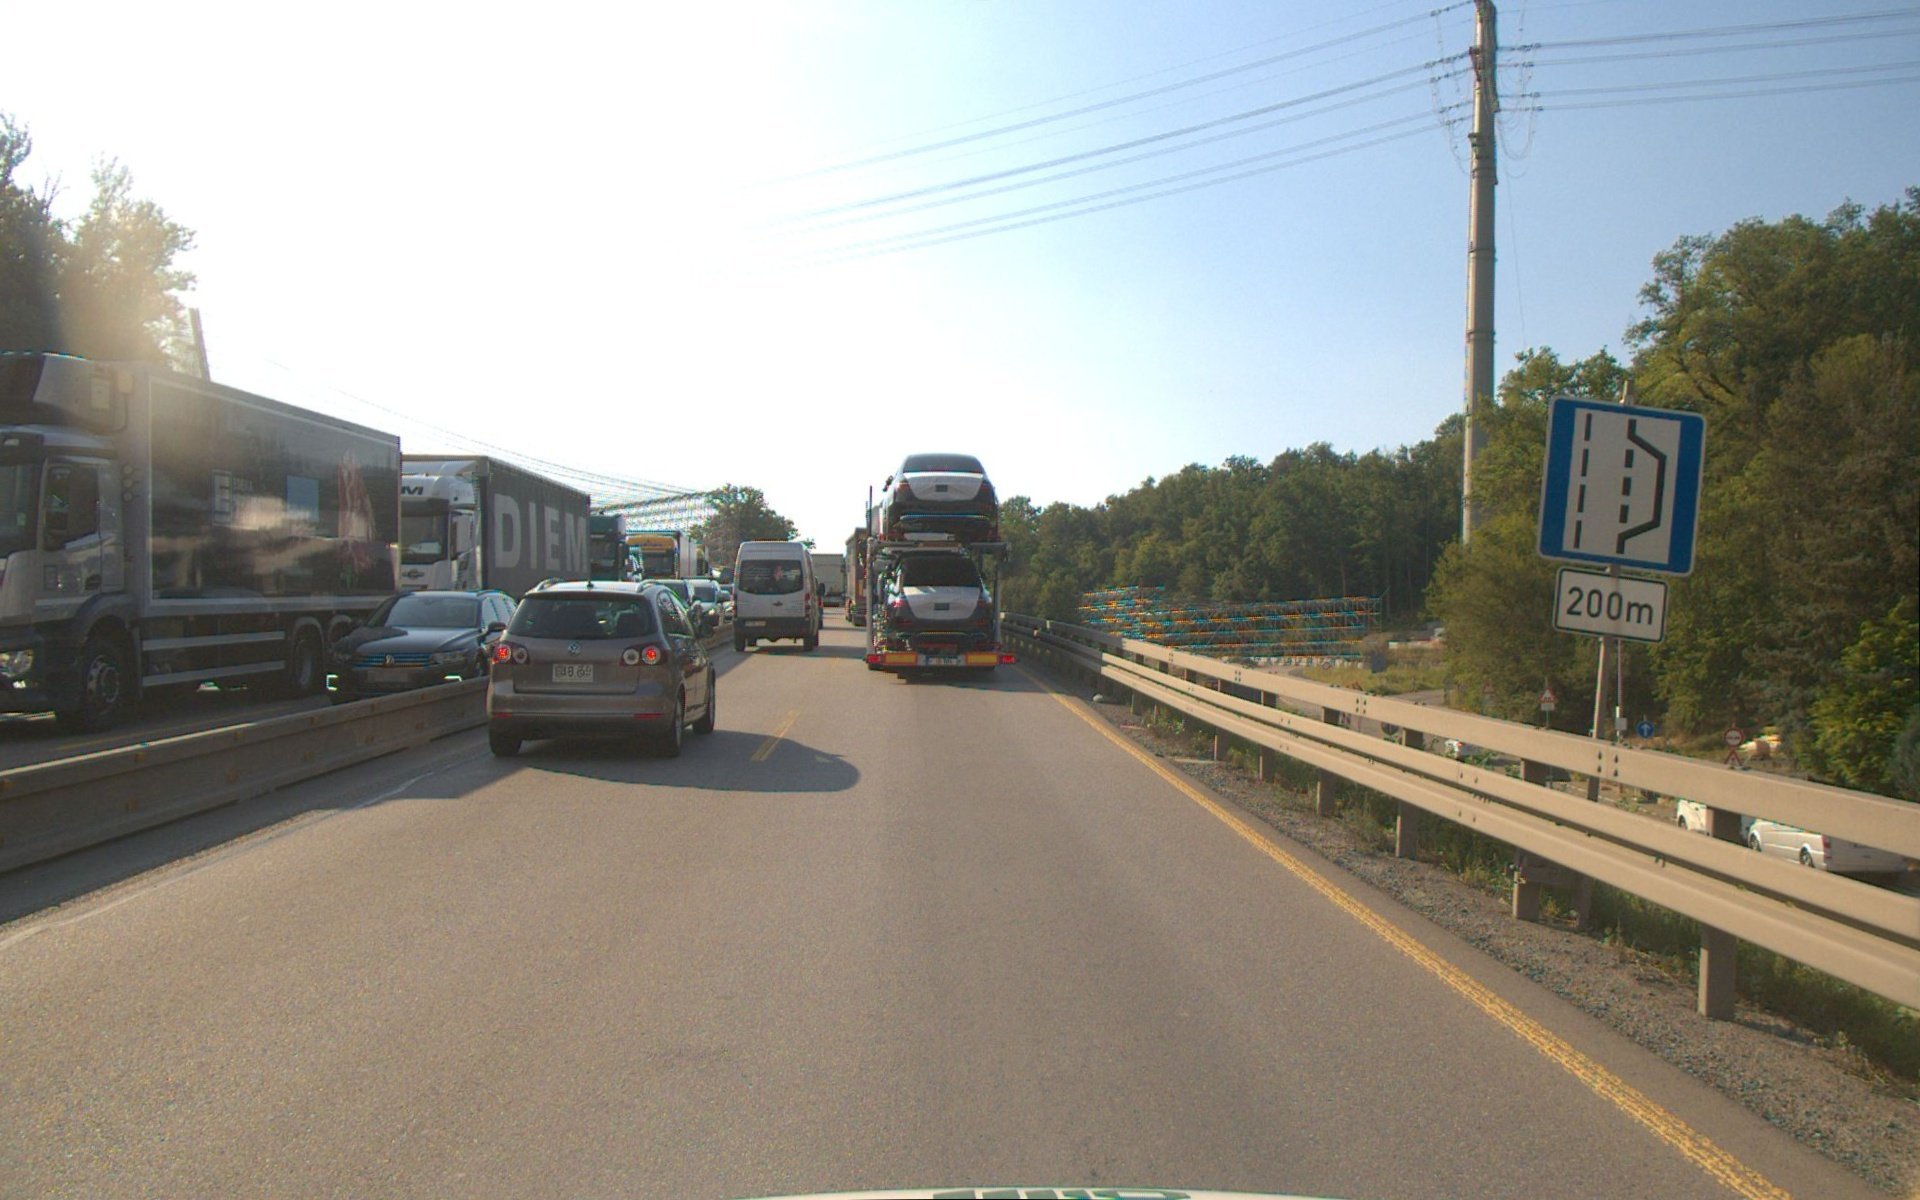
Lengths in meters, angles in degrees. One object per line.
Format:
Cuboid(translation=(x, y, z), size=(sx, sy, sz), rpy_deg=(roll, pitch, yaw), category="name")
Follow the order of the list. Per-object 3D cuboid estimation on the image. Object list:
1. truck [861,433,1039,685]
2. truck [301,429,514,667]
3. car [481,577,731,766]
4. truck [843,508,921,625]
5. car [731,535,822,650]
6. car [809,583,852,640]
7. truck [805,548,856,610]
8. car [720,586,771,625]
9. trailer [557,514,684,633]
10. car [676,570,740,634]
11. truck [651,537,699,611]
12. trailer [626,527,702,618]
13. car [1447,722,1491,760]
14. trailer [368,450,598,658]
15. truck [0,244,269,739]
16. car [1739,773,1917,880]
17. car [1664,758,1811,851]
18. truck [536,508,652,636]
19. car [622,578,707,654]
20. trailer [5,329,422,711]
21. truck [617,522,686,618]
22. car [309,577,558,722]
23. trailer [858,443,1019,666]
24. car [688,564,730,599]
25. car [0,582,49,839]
Cuboid(translation=(-0.327, -0.650, 29.618), size=(2.813, 4.049, 5.766), rpy_deg=(0, -1, -4), category="truck")
Cuboid(translation=(-10.509, -0.930, 31.987), size=(2.695, 4.187, 5.026), rpy_deg=(-1, 0, -5), category="truck")
Cuboid(translation=(-3.327, 0.631, 16.299), size=(1.666, 1.615, 4.145), rpy_deg=(0, -1, -2), category="car")
Cuboid(translation=(-3.590, -1.467, 73.323), size=(3.164, 4.758, 11.686), rpy_deg=(0, 1, -4), category="truck")
Cuboid(translation=(-4.557, -0.157, 41.611), size=(1.939, 2.731, 4.145), rpy_deg=(0, -1, -2), category="car")
Cuboid(translation=(-4.932, 0.457, 63.207), size=(1.498, 2.049, 3.996), rpy_deg=(2, -1, -4), category="car")
Cuboid(translation=(-10.333, -1.743, 133.149), size=(3.575, 4.758, 11.690), rpy_deg=(0, 1, -2), category="truck")
Cuboid(translation=(-9.037, 0.244, 69.992), size=(1.767, 1.548, 4.813), rpy_deg=(-1, 0, -3), category="car")
Cuboid(translation=(-12.593, -0.871, 62.789), size=(2.695, 3.882, 16.031), rpy_deg=(-1, 0, -5), category="trailer")
Cuboid(translation=(-8.499, 0.087, 56.142), size=(1.788, 1.967, 5.123), rpy_deg=(-3, 0, -6), category="car")
Cuboid(translation=(-16.943, -1.499, 98.621), size=(2.643, 4.270, 4.390), rpy_deg=(0, -1, -8), category="truck")
Cuboid(translation=(-15.034, -1.205, 85.022), size=(2.662, 4.207, 16.729), rpy_deg=(0, 0, -6), category="trailer")
Cuboid(translation=(24.352, 6.712, 79.233), size=(1.493, 1.486, 4.271), rpy_deg=(-1, -1, 10), category="car")
Cuboid(translation=(-11.085, -0.943, 39.953), size=(2.661, 4.194, 12.482), rpy_deg=(-1, 0, -4), category="trailer")
Cuboid(translation=(-9.853, -1.000, 17.782), size=(2.861, 4.593, 5.025), rpy_deg=(0, 0, -3), category="truck")
Cuboid(translation=(19.746, 5.112, 37.894), size=(1.953, 1.951, 4.866), rpy_deg=(-1, -2, 7), category="car")
Cuboid(translation=(20.504, 5.355, 43.867), size=(1.823, 2.021, 5.054), rpy_deg=(0, -2, 4), category="car")
Cuboid(translation=(-11.885, -0.866, 54.307), size=(2.695, 3.872, 7.104), rpy_deg=(-1, 0, -5), category="truck")
Cuboid(translation=(-8.227, 0.461, 46.387), size=(1.796, 1.998, 4.895), rpy_deg=(0, -1, -4), category="car")
Cuboid(translation=(-10.091, -0.936, 23.387), size=(2.853, 4.544, 7.148), rpy_deg=(1, 0, -3), category="trailer")
Cuboid(translation=(-14.043, -1.302, 75.665), size=(2.649, 4.213, 5.786), rpy_deg=(0, -1, -6), category="truck")
Cuboid(translation=(-6.804, 0.635, 21.941), size=(1.825, 1.614, 4.744), rpy_deg=(3, -1, -2), category="car")
Cuboid(translation=(-0.859, -0.779, 37.942), size=(2.818, 4.064, 15.266), rpy_deg=(0, 0, -4), category="trailer")
Cuboid(translation=(-13.000, -0.936, 85.929), size=(1.921, 1.673, 4.842), rpy_deg=(0, -1, -6), category="car")
Cuboid(translation=(-6.718, 0.632, 8.431), size=(1.731, 1.578, 4.477), rpy_deg=(1, -1, -2), category="car")
